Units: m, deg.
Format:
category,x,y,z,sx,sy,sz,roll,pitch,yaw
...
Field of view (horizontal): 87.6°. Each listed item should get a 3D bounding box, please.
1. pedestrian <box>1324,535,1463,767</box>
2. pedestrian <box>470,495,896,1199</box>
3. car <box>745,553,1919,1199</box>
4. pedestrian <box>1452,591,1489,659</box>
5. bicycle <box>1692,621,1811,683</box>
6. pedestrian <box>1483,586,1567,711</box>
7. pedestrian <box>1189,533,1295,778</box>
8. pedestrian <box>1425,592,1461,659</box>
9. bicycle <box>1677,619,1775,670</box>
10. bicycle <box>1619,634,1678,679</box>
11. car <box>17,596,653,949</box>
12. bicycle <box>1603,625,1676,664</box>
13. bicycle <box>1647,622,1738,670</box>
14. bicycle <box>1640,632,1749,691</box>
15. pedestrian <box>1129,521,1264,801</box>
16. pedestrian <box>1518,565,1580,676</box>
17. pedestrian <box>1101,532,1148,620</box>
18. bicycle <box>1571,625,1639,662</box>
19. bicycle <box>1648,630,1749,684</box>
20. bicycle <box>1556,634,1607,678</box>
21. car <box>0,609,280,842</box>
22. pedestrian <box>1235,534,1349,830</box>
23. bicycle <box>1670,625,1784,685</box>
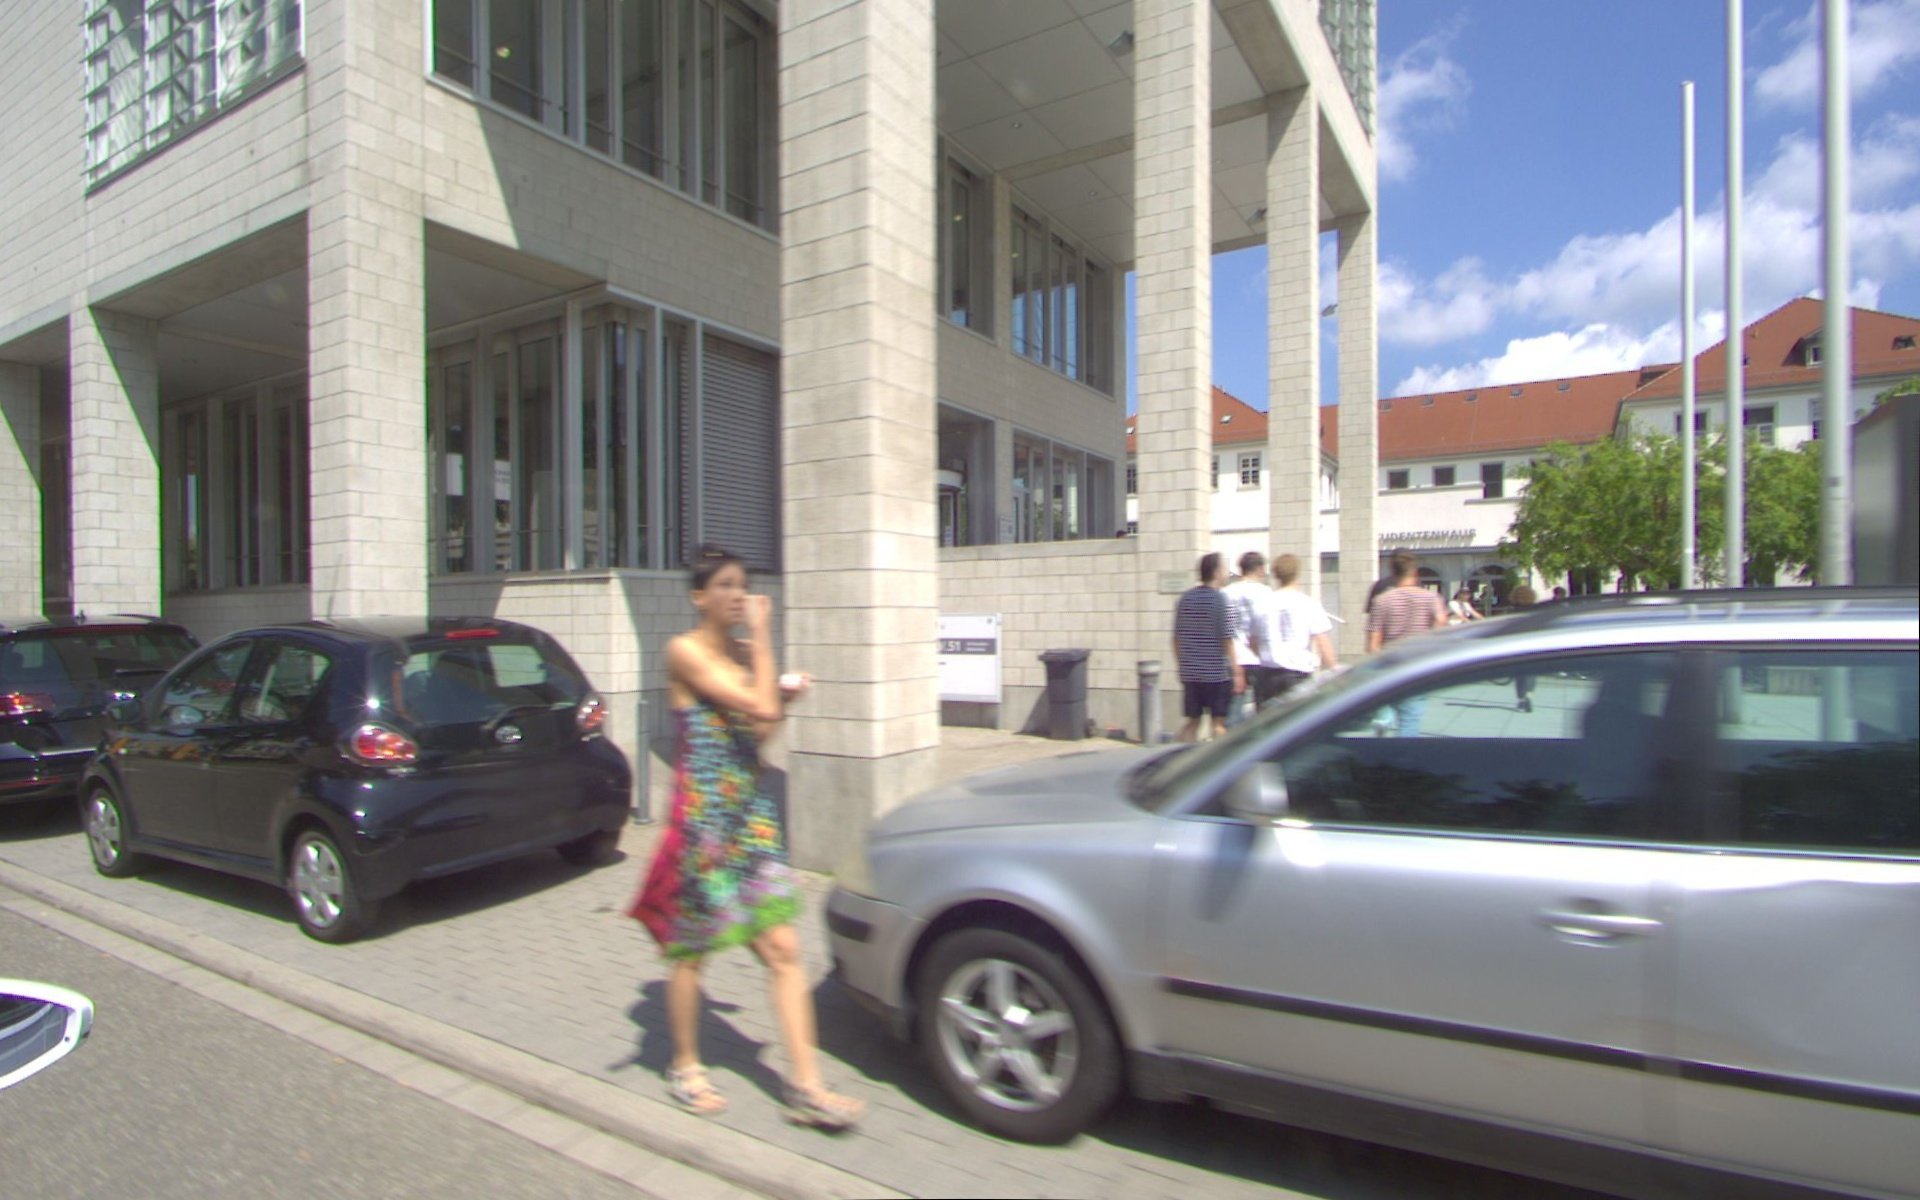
category,x,y,z,sx,sy,sz,roll,pitch,yaw
pedestrian,3.967,0.438,9.140,1.006,1.945,1.093,0,0,33
pedestrian,-0.782,0.636,2.836,1.025,1.740,0.621,0,0,31
car,1.716,0.680,2.800,4.496,1.550,1.717,-1,1,29
pedestrian,13.625,0.661,26.735,0.622,1.769,0.716,-2,-1,7
bicycle,15.076,0.982,19.086,1.733,1.113,0.604,-2,-1,1
pedestrian,7.690,0.647,13.650,0.724,1.661,0.691,0,0,-6
pedestrian,2.395,0.450,8.472,0.739,1.951,0.723,0,0,27
pedestrian,12.998,0.689,26.947,0.622,1.769,0.716,-2,-1,7
bicycle,17.715,1.022,23.178,1.733,1.113,0.604,-2,-1,1
bicycle,13.571,1.101,19.785,0.511,0.803,1.764,0,0,19
car,-3.842,0.775,5.998,3.947,1.516,1.612,-1,-1,31
bicycle,20.537,1.341,30.290,1.733,1.113,0.604,-2,-1,1
bicycle,17.853,1.118,24.432,1.733,1.113,0.604,-2,-1,1
bicycle,15.053,1.253,20.540,1.733,1.113,0.604,-2,-1,1
pedestrian,1.775,0.432,7.501,0.725,1.951,0.779,0,0,38
pedestrian,12.307,0.439,20.941,0.838,2.258,0.634,-2,-1,5
pedestrian,3.511,-0.501,21.403,0.707,1.821,0.716,-2,-1,34
bicycle,20.629,1.389,32.060,1.733,1.113,0.604,-2,-1,1
bicycle,16.295,1.255,22.128,1.733,1.113,0.604,-2,-1,1
bicycle,12.583,1.114,20.305,0.511,0.803,1.764,0,0,19
car,-7.649,0.835,8.152,4.455,1.483,1.863,-1,-1,32
pedestrian,2.360,0.548,7.086,0.585,1.951,0.781,0,0,33
bicycle,15.155,1.086,19.805,1.733,1.113,0.604,-2,-1,1
